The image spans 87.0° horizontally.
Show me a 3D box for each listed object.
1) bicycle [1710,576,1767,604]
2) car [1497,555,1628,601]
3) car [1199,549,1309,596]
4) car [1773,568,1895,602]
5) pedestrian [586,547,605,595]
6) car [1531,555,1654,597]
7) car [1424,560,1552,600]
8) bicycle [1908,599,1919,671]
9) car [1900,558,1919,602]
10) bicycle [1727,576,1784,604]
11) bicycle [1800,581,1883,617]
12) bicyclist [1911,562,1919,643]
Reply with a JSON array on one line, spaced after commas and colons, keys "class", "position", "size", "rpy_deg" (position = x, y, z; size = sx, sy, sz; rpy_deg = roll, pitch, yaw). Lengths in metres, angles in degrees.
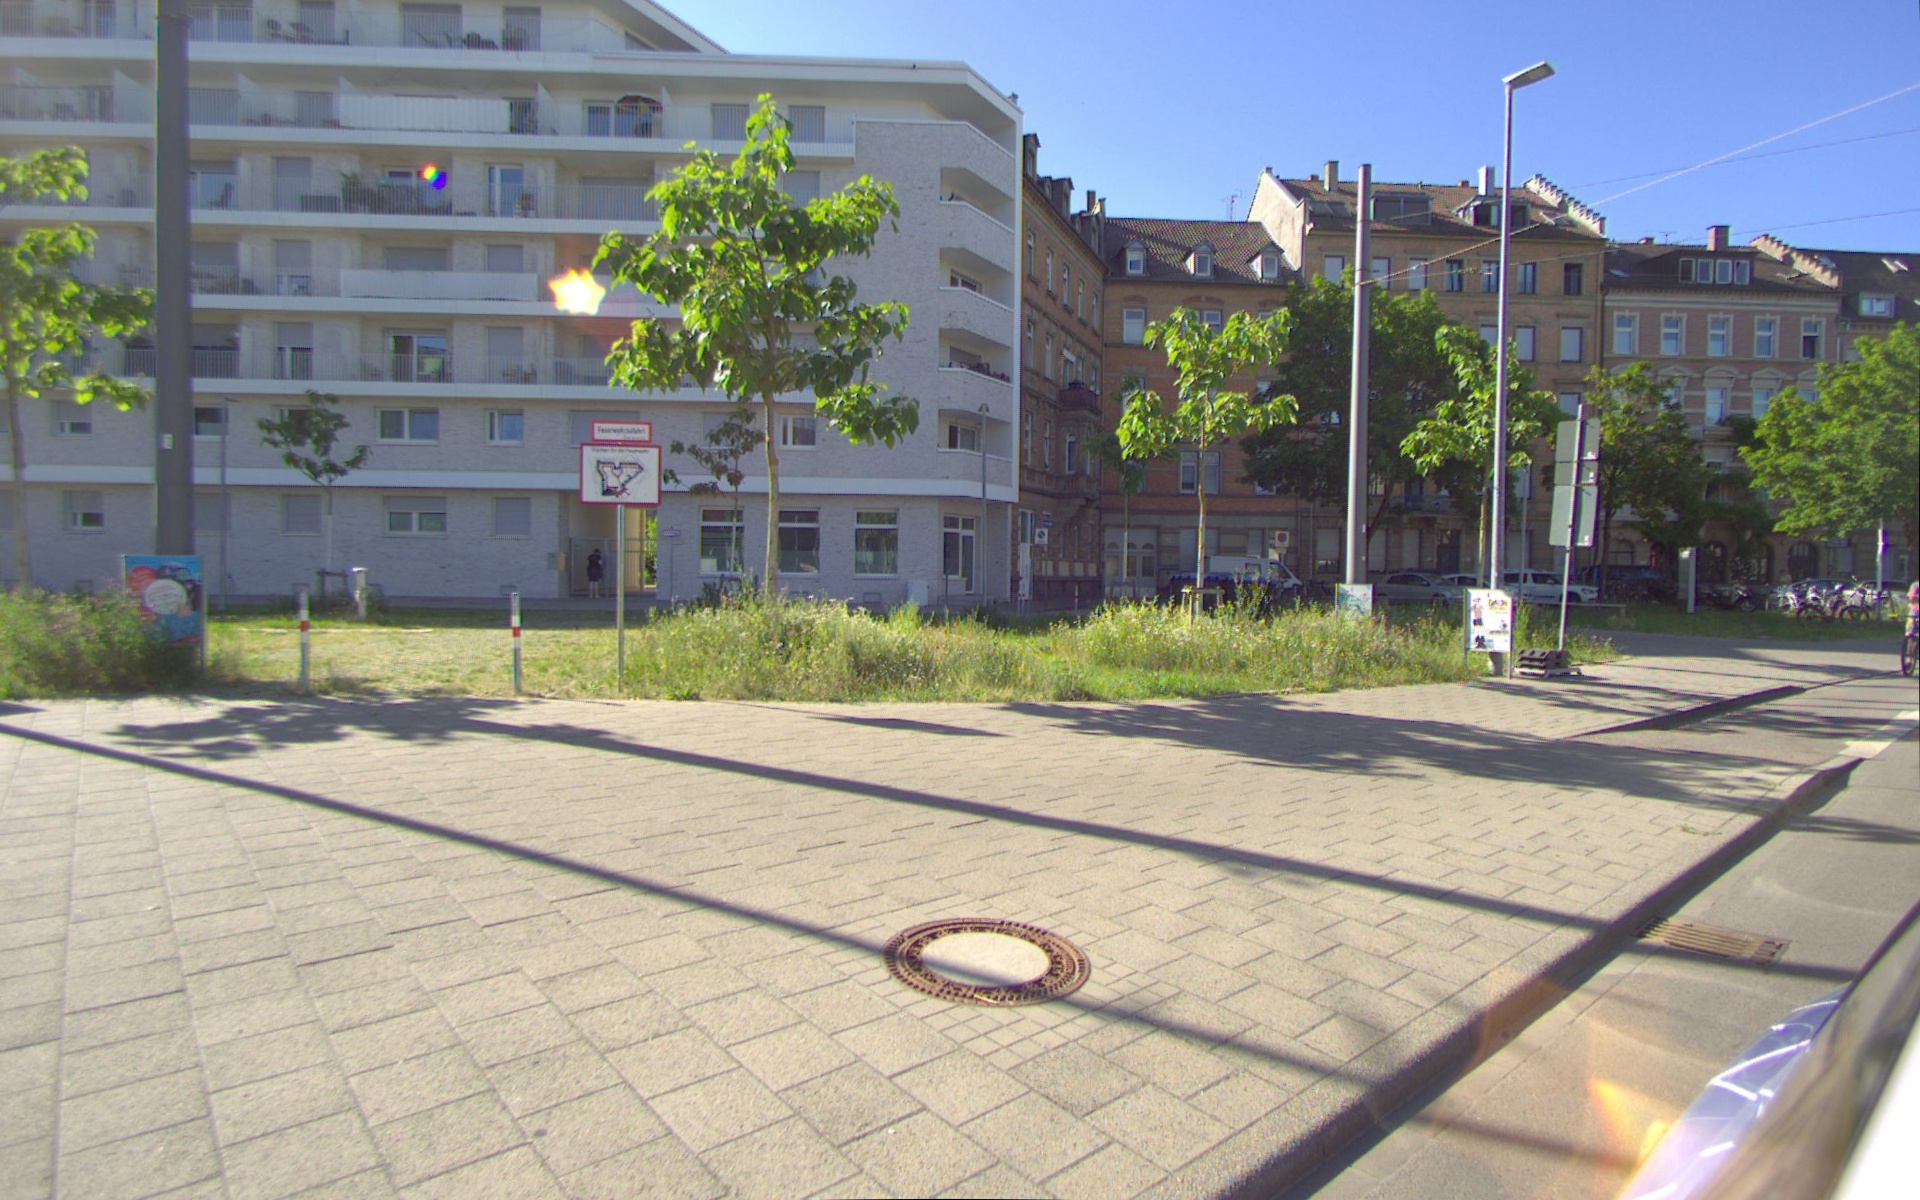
[{"class": "bicycle", "position": [29.538, -0.380, 38.431], "size": [0.442, 1.037, 1.766], "rpy_deg": [0, 2, -15]}, {"class": "car", "position": [23.681, -0.878, 39.879], "size": [1.964, 1.682, 3.997], "rpy_deg": [-1, 2, -38]}, {"class": "car", "position": [13.851, -1.321, 47.825], "size": [4.553, 2.139, 2.001], "rpy_deg": [0, 1, -1]}, {"class": "car", "position": [35.411, -0.634, 41.057], "size": [1.701, 1.348, 3.463], "rpy_deg": [-1, 2, -38]}, {"class": "pedestrian", "position": [-12.911, -1.030, 35.853], "size": [0.513, 1.668, 0.471], "rpy_deg": [1, 1, 2]}, {"class": "car", "position": [26.624, -1.009, 42.682], "size": [1.964, 1.682, 3.997], "rpy_deg": [-1, 2, -38]}, {"class": "car", "position": [20.743, -0.802, 39.866], "size": [1.964, 1.482, 3.997], "rpy_deg": [-1, 2, -38]}, {"class": "bicycle", "position": [17.192, 0.615, 17.739], "size": [0.694, 1.118, 1.983], "rpy_deg": [3, 5, 40]}, {"class": "car", "position": [41.638, -0.791, 41.159], "size": [1.701, 1.793, 4.791], "rpy_deg": [0, 2, -38]}, {"class": "bicycle", "position": [30.434, -0.383, 38.749], "size": [0.442, 1.037, 1.766], "rpy_deg": [0, 2, -15]}, {"class": "bicycle", "position": [26.094, -0.035, 29.999], "size": [1.742, 1.037, 0.564], "rpy_deg": [1, 1, 23]}, {"class": "bicyclist", "position": [17.231, 0.054, 17.756], "size": [0.694, 1.393, 0.727], "rpy_deg": [3, 5, 41]}]
